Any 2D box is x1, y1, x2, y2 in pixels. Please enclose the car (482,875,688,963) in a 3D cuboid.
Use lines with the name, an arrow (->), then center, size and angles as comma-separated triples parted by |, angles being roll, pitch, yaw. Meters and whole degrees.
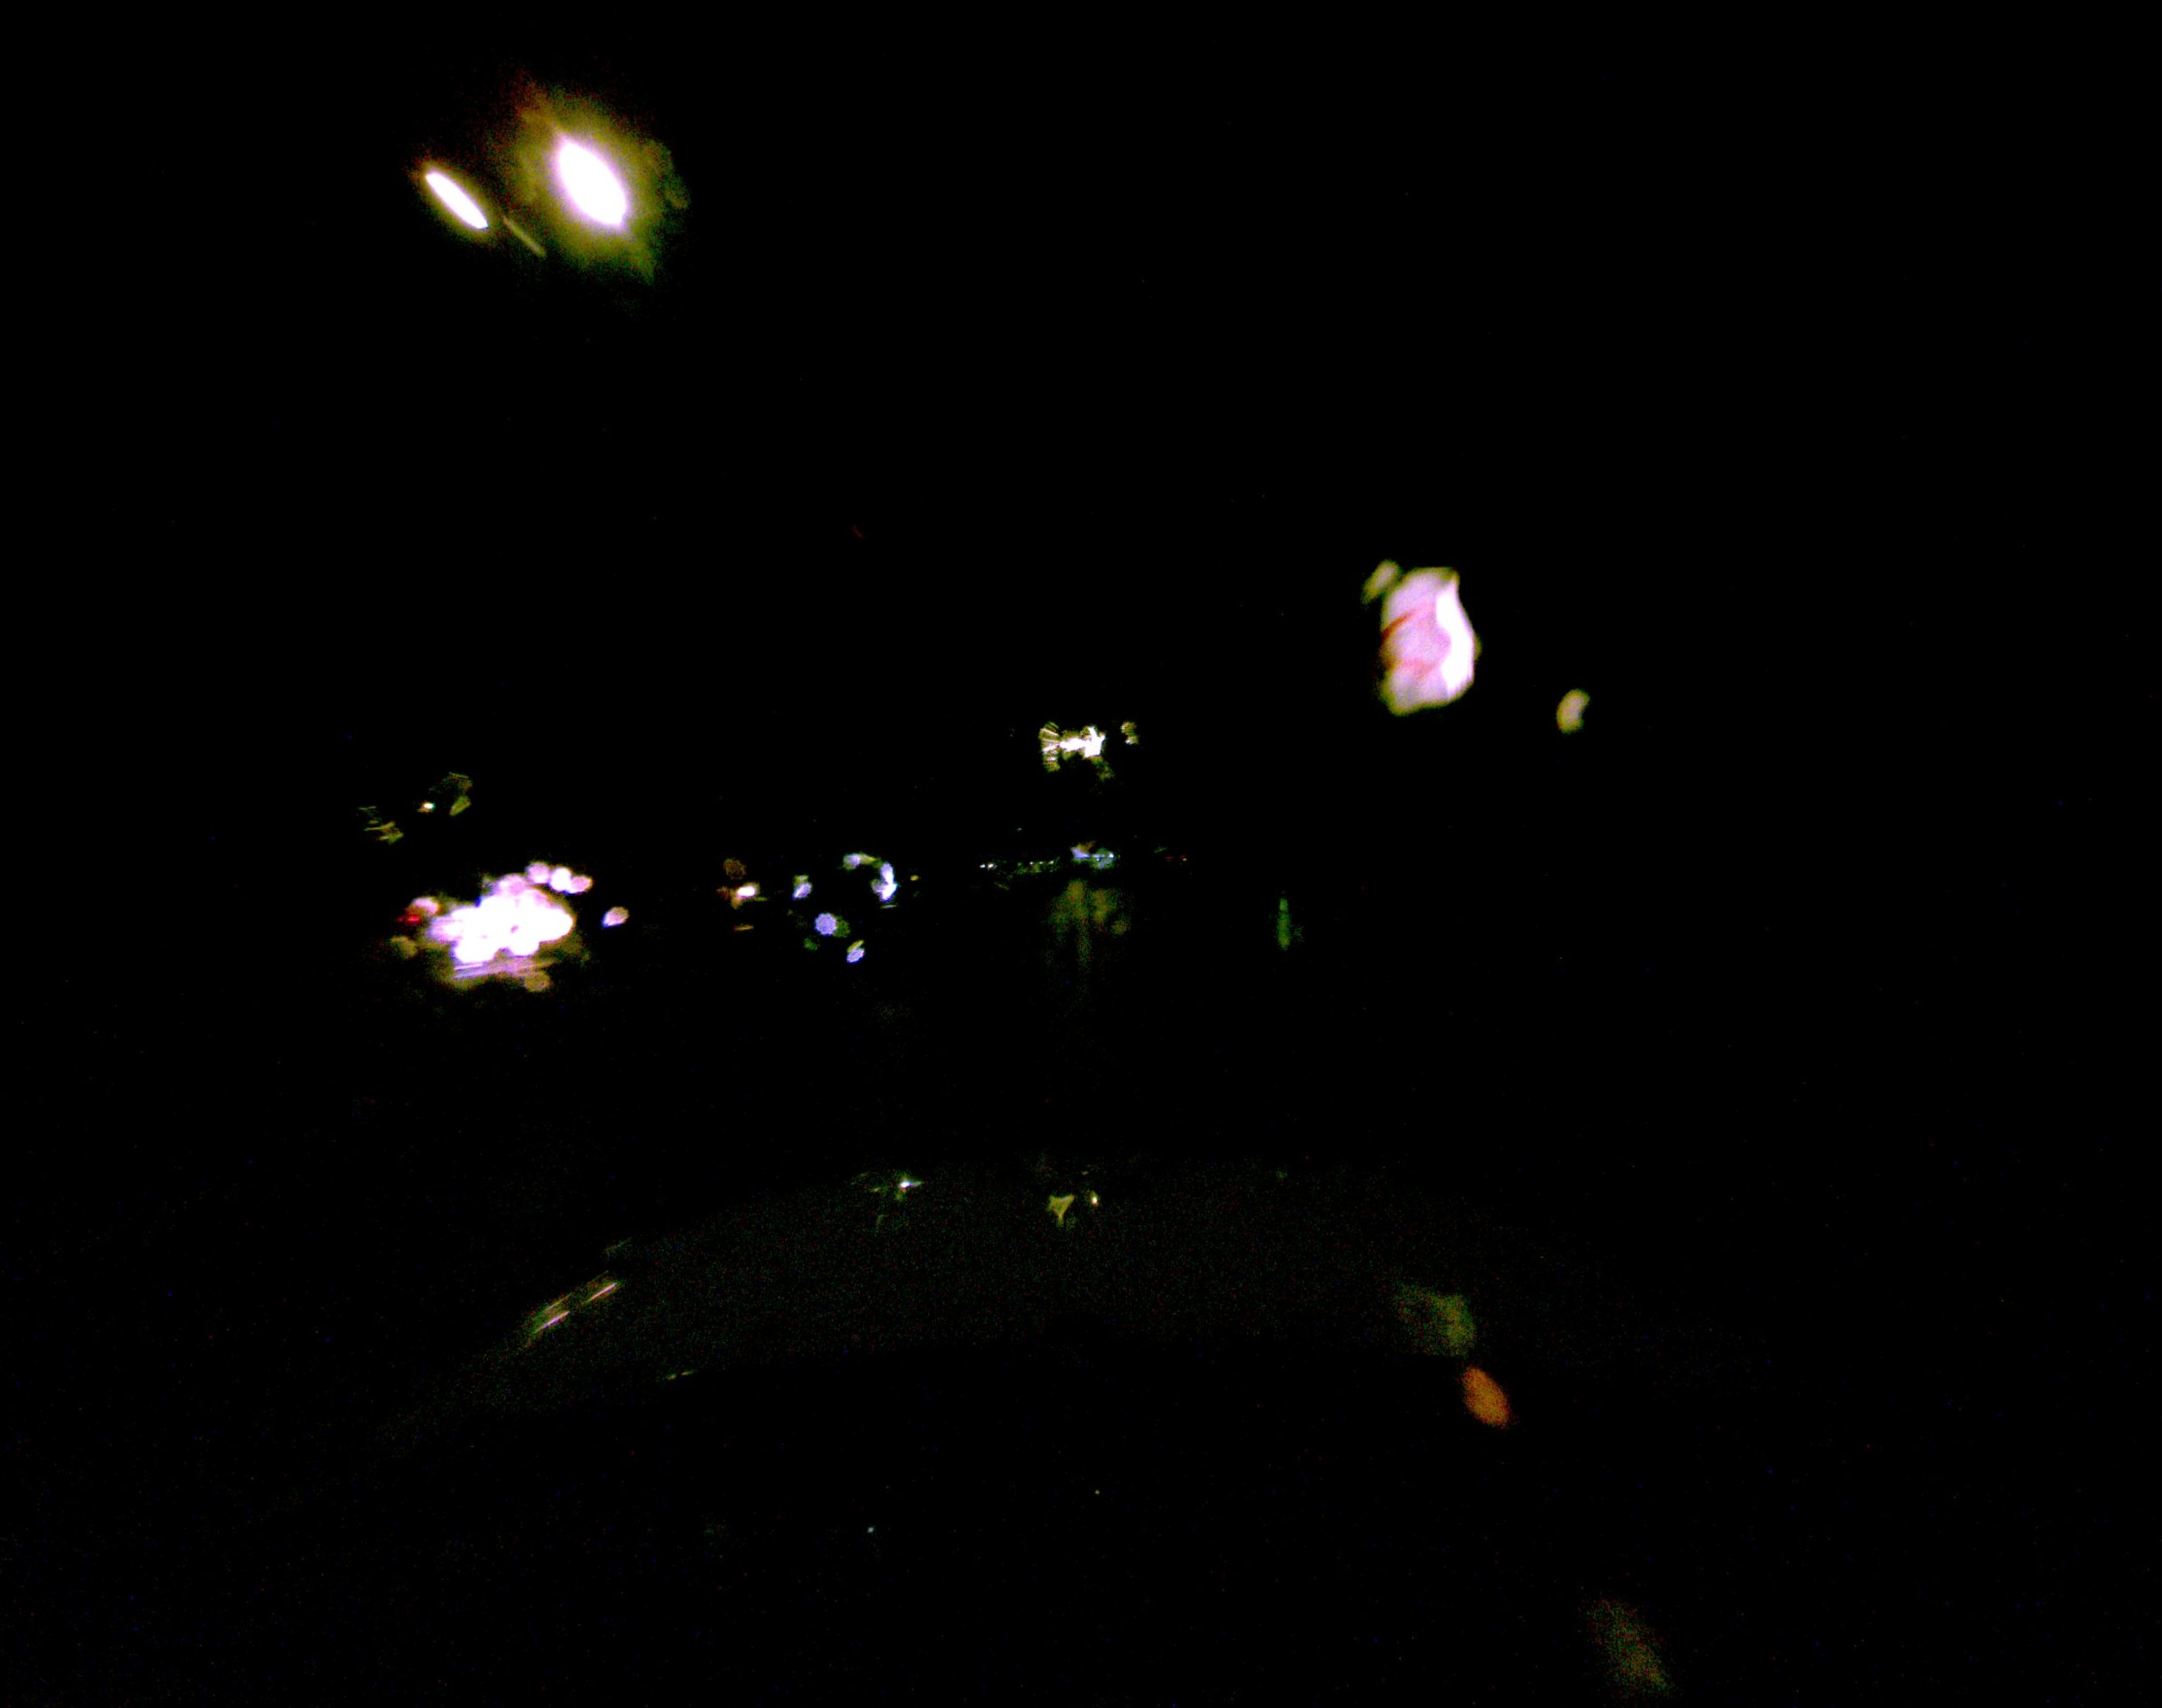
car -> -9.684, 1.200, 16.257 | 1.577, 1.526, 3.658 | -2, -2, 6

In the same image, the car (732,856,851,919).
car -> -8.672, 0.974, 24.791 | 1.708, 1.703, 4.151 | -2, -1, 7

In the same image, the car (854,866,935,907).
car -> -7.484, 1.288, 33.158 | 1.699, 1.534, 4.608 | -2, -2, 7

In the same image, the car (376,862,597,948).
car -> -13.476, 1.104, 18.818 | 1.984, 1.720, 4.004 | -2, -2, 4

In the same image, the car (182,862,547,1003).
car -> -10.129, 1.022, 12.004 | 1.673, 1.691, 3.953 | -2, -2, 5
